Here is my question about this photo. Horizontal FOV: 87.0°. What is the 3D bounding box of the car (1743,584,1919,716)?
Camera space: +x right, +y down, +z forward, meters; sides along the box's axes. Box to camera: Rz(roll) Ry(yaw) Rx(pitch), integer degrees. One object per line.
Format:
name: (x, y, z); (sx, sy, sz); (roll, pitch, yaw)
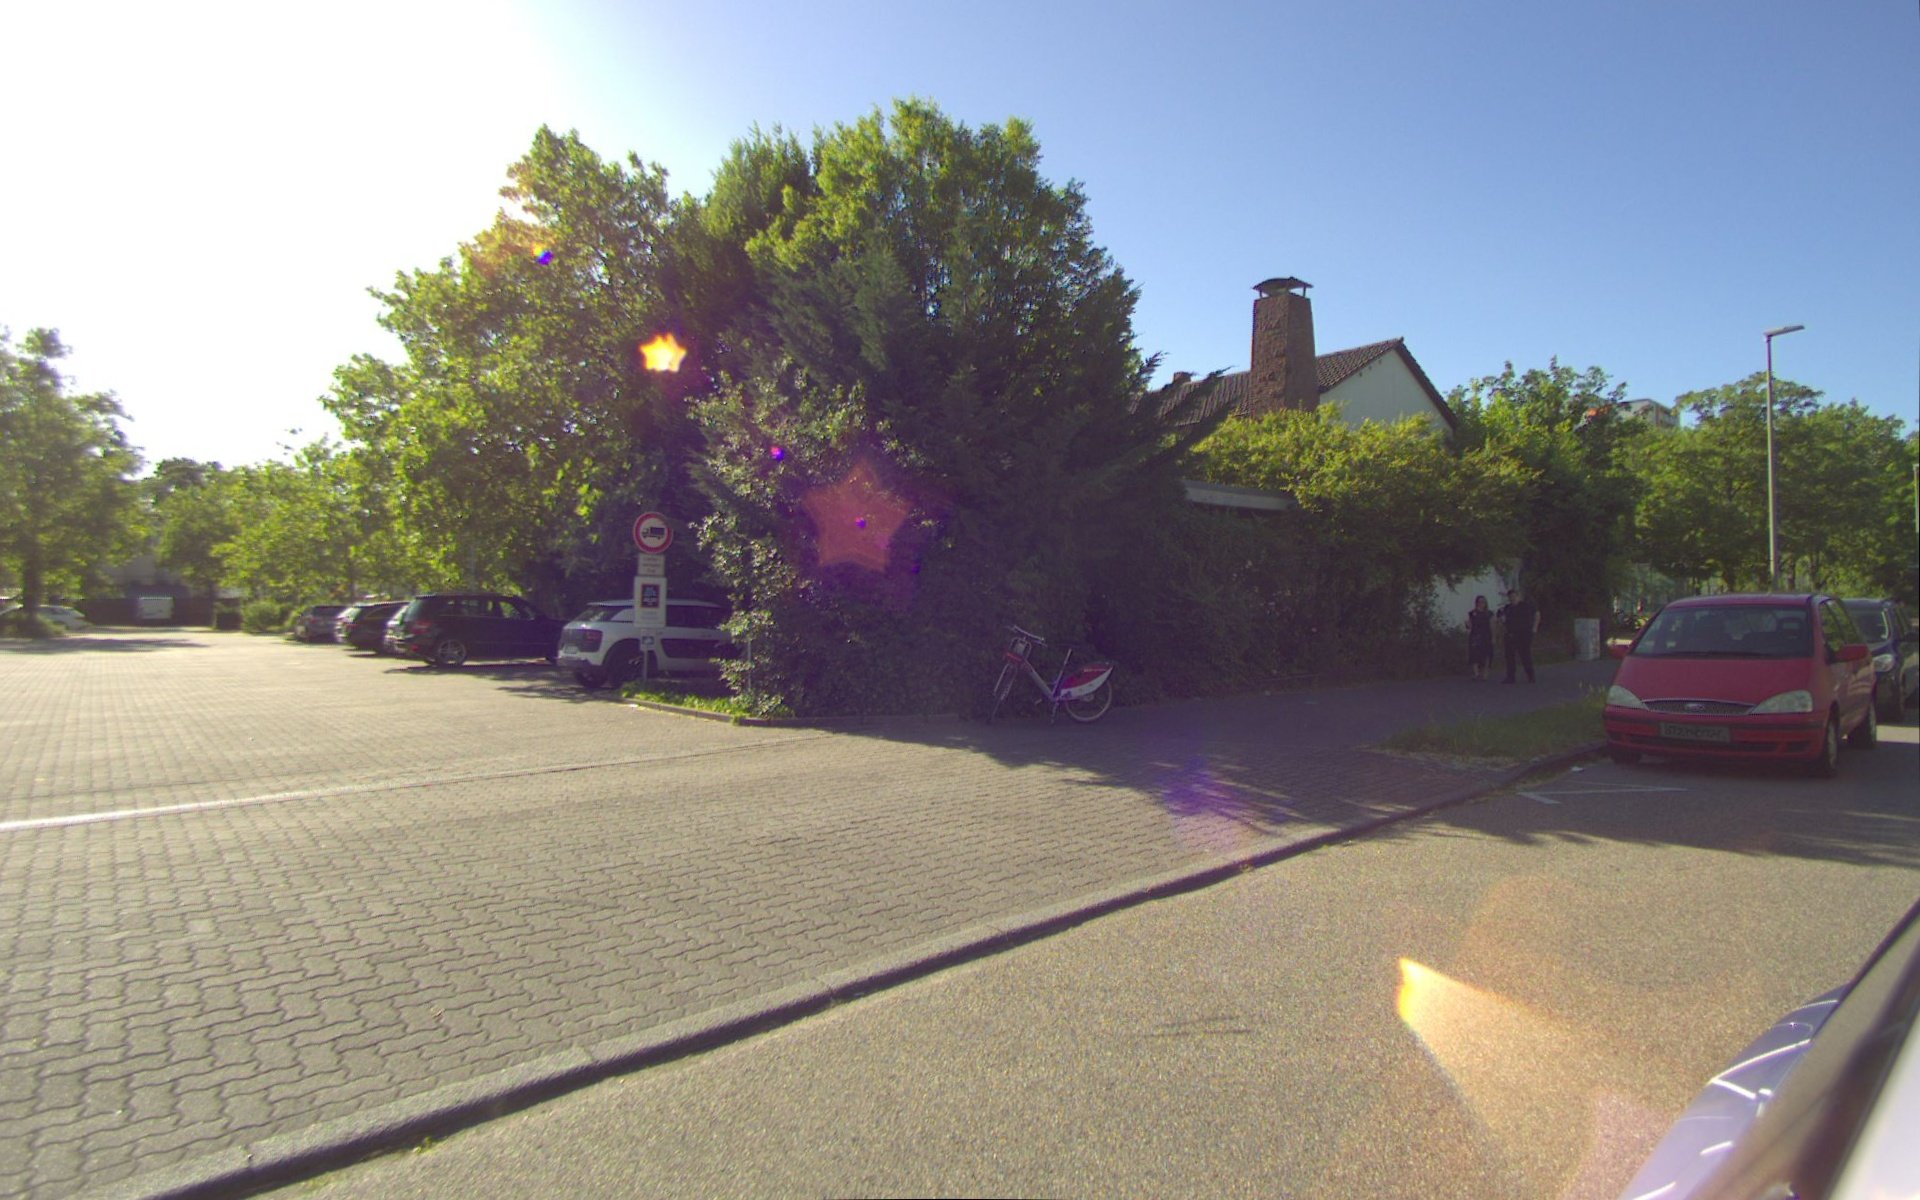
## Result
car: (13.153, 0.640, 14.974); (4.277, 1.677, 1.727); (0, -1, -42)

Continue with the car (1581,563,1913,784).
car: (8.353, 0.613, 10.580); (4.571, 1.828, 1.843); (0, -1, -40)

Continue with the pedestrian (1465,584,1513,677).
pedestrian: (9.661, 0.538, 18.483); (0.780, 1.629, 0.573); (-2, 2, -45)

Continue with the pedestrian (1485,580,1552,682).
pedestrian: (10.006, 0.519, 18.122); (0.968, 1.738, 0.804); (-2, 2, -45)

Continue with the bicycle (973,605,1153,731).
bicycle: (1.141, 0.706, 11.135); (1.857, 1.236, 0.724); (-1, 2, -25)

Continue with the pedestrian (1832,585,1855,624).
pedestrian: (38.666, 0.200, 44.309); (0.629, 1.659, 0.641); (0, -1, -38)

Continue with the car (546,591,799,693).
car: (-4.779, 0.635, 17.070); (3.736, 1.522, 1.775); (0, -1, -41)
